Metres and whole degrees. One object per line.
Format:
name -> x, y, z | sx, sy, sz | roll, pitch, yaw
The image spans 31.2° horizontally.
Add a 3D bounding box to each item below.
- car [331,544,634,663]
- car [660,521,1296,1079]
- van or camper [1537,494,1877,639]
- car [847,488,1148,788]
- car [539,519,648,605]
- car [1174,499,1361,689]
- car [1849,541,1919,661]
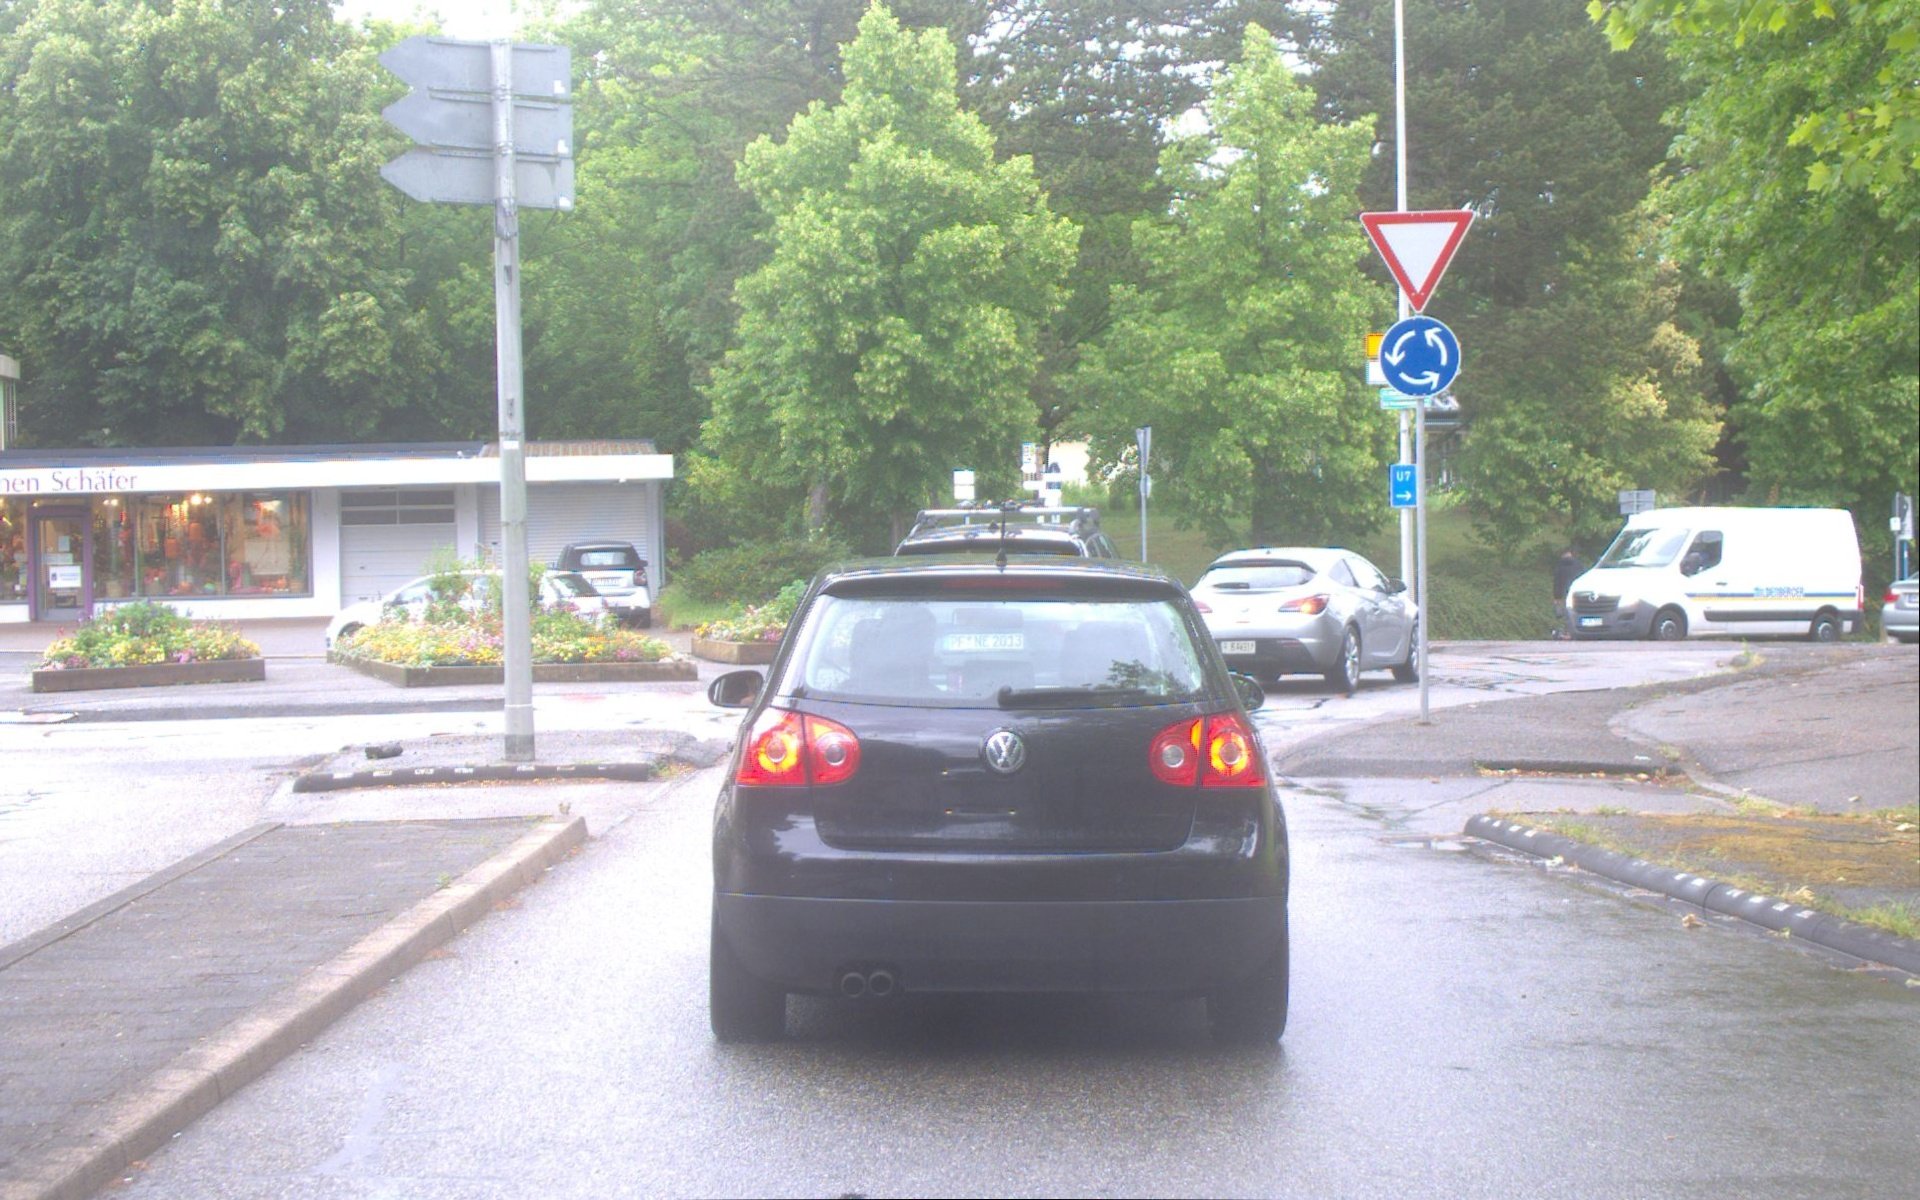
car -> -7.259, 0.032, 52.236 | 4.135, 1.735, 1.997 | 1, 0, 25
car -> 0.202, 0.526, 11.566 | 1.765, 1.533, 3.999 | 0, 1, 5
van or camper -> 12.740, -0.547, 58.545 | 5.650, 2.370, 2.201 | 0, 0, -31
car -> 0.165, 0.219, 23.453 | 1.764, 1.795, 4.247 | -2, 0, -2
car -> -6.749, -0.710, 63.044 | 1.812, 1.481, 3.832 | -2, 1, -8
car -> 3.148, -0.080, 35.782 | 1.765, 1.795, 4.246 | -2, 0, 4
car -> 14.811, 0.008, 49.688 | 4.022, 1.678, 1.999 | 0, 1, -45
